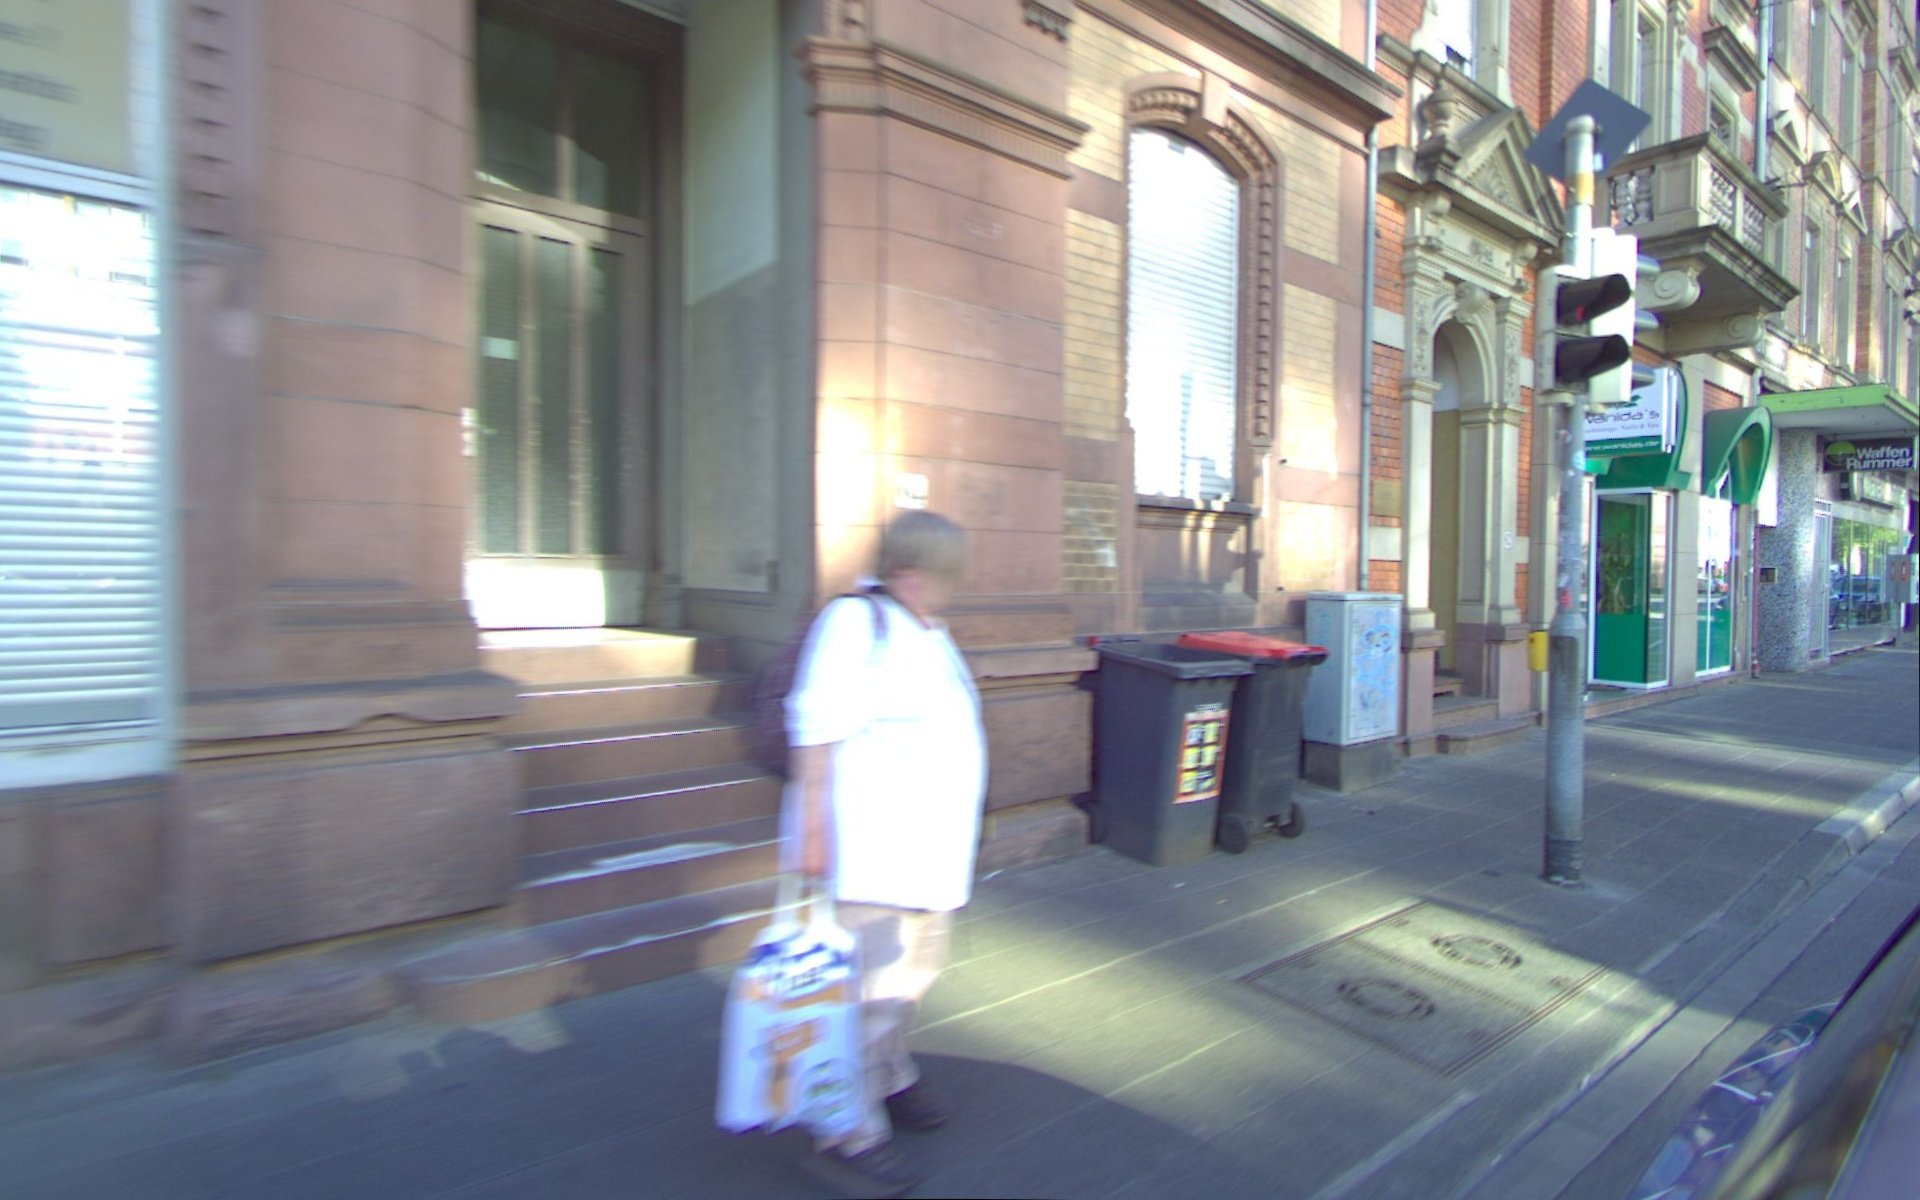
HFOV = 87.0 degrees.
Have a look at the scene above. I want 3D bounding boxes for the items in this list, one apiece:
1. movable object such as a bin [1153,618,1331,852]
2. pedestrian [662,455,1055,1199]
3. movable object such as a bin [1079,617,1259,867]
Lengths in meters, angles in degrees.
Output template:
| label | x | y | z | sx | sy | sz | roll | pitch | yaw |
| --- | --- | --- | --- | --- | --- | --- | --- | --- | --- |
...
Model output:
| label | x | y | z | sx | sy | sz | roll | pitch | yaw |
| --- | --- | --- | --- | --- | --- | --- | --- | --- | --- |
| movable object such as a bin | 1.503 | 0.679 | 5.433 | 0.580 | 1.085 | 0.665 | -1 | 5 | -37 |
| pedestrian | -0.236 | 0.502 | 2.550 | 0.679 | 1.627 | 0.722 | 1 | 2 | 36 |
| movable object such as a bin | 1.040 | 0.668 | 5.104 | 0.535 | 1.085 | 0.665 | -1 | 5 | -37 |
